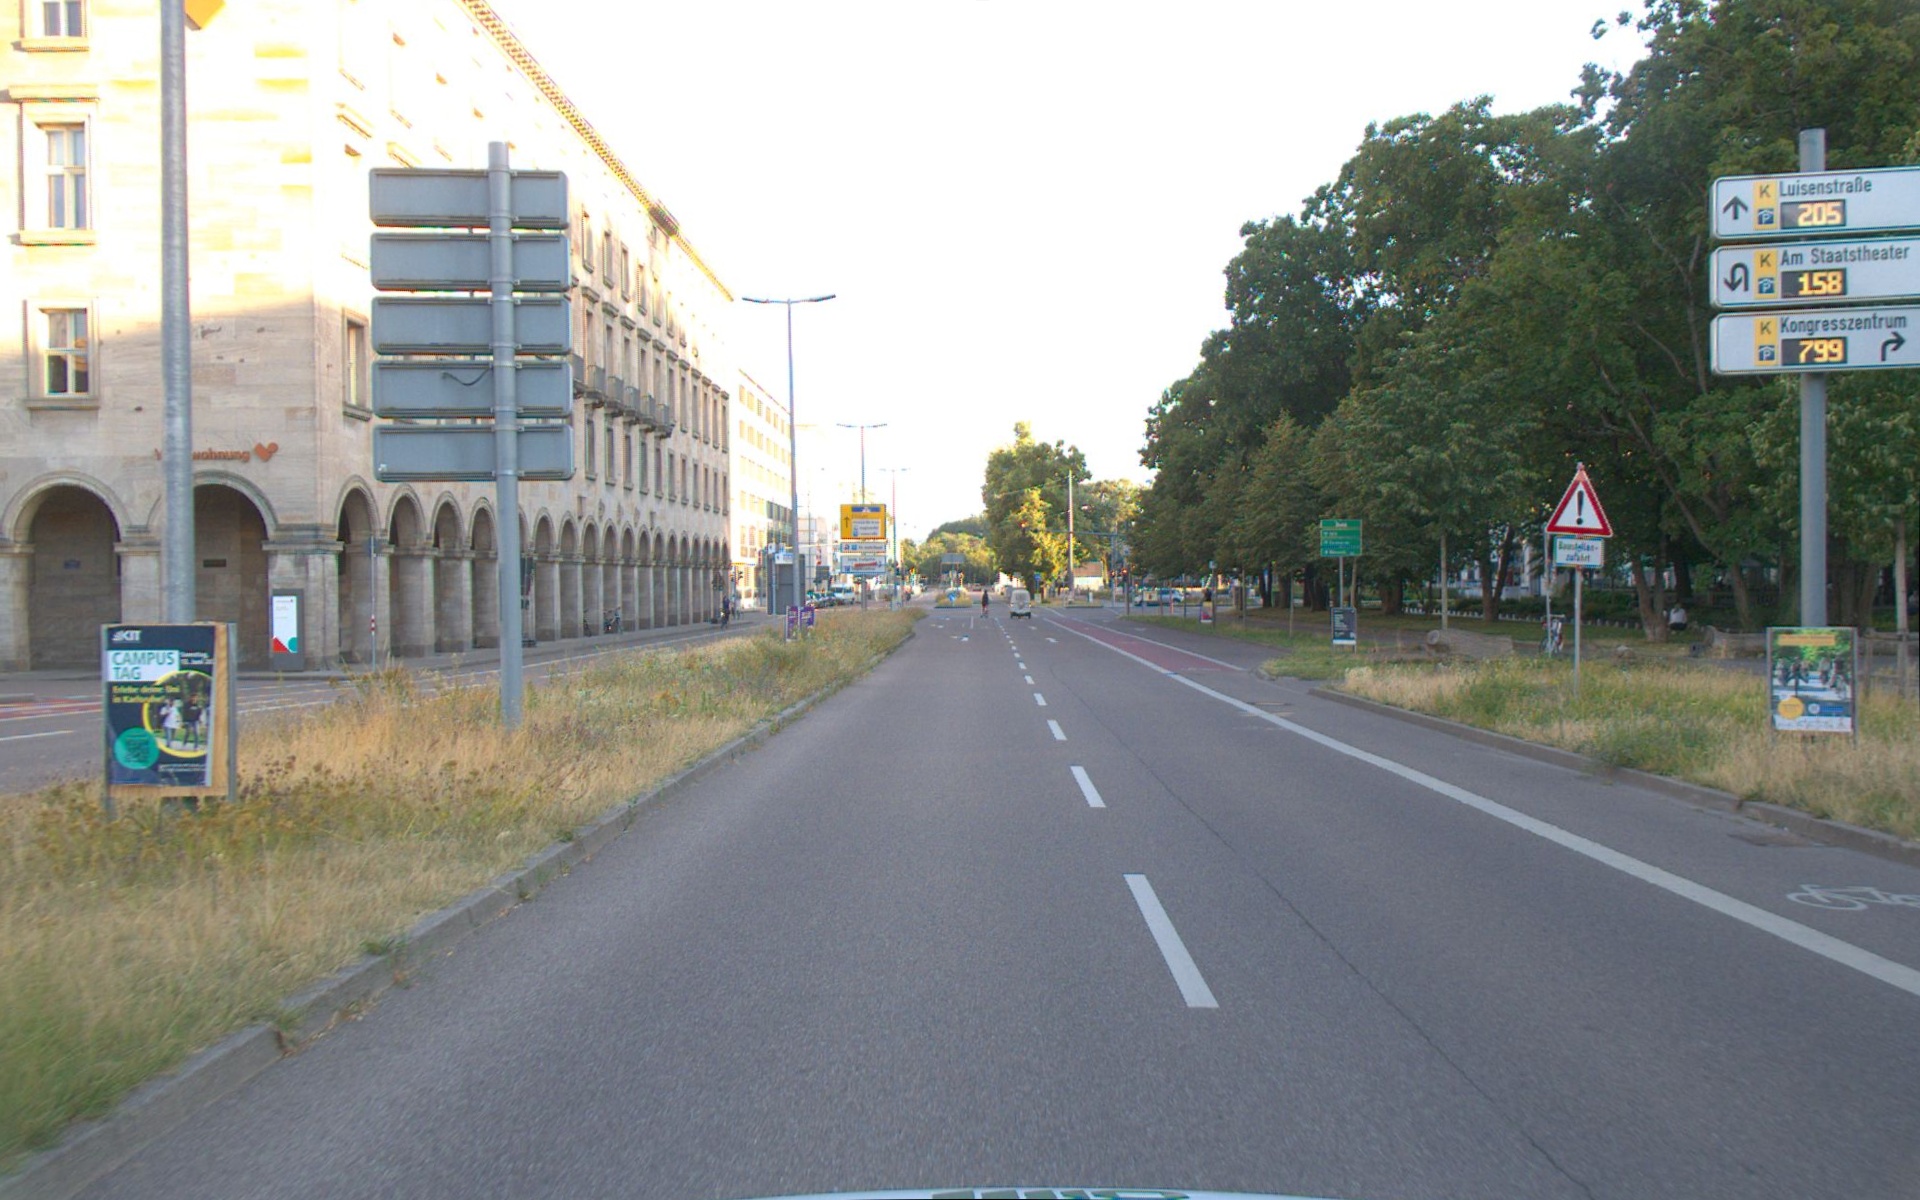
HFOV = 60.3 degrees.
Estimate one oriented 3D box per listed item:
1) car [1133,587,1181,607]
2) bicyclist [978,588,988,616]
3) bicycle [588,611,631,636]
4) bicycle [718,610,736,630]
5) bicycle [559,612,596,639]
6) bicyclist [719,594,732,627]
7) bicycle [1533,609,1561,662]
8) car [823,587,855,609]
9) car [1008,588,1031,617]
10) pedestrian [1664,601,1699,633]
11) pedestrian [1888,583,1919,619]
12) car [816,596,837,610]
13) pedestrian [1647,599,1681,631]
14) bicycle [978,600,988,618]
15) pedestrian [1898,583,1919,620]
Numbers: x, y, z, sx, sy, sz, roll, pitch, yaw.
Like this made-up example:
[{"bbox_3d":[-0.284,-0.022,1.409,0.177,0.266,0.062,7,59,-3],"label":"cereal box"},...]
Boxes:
[{"bbox_3d":[16.758,-0.226,140.841,3.903,1.601,2.001,-1,0,3],"label":"car"},{"bbox_3d":[1.452,0.138,104.057,0.615,1.723,0.748,-1,0,0],"label":"bicyclist"},{"bbox_3d":[-15.257,1.008,72.058,0.469,1.023,1.997,-1,0,36],"label":"bicycle"},{"bbox_3d":[-12.377,1.035,87.676,0.533,1.023,1.993,-1,0,-20],"label":"bicycle"},{"bbox_3d":[-15.481,1.029,67.019,0.467,1.023,2.006,-1,0,19],"label":"bicycle"},{"bbox_3d":[-12.456,0.538,87.866,0.528,1.723,0.744,-1,0,-19],"label":"bicyclist"},{"bbox_3d":[12.548,0.744,35.334,0.484,1.023,1.899,-4,0,20],"label":"bicycle"},{"bbox_3d":[-14.150,-0.209,193.159,2.130,2.427,5.994,-2,-2,12],"label":"car"},{"bbox_3d":[3.748,0.153,103.791,1.429,1.812,2.565,-1,0,3],"label":"car"},{"bbox_3d":[20.571,0.487,47.135,0.670,0.900,0.619,-1,0,-23],"label":"pedestrian"},{"bbox_3d":[34.114,0.023,59.462,1.108,1.282,0.726,-1,0,3],"label":"pedestrian"},{"bbox_3d":[-15.056,0.352,186.566,1.758,1.501,4.001,-1,-2,4],"label":"car"},{"bbox_3d":[20.285,0.421,47.681,0.670,0.900,0.588,-1,0,-24],"label":"pedestrian"},{"bbox_3d":[1.469,0.566,104.373,0.624,1.087,2.069,0,0,0],"label":"bicycle"},{"bbox_3d":[34.011,0.040,58.511,1.108,1.282,0.906,-1,0,3],"label":"pedestrian"}]
